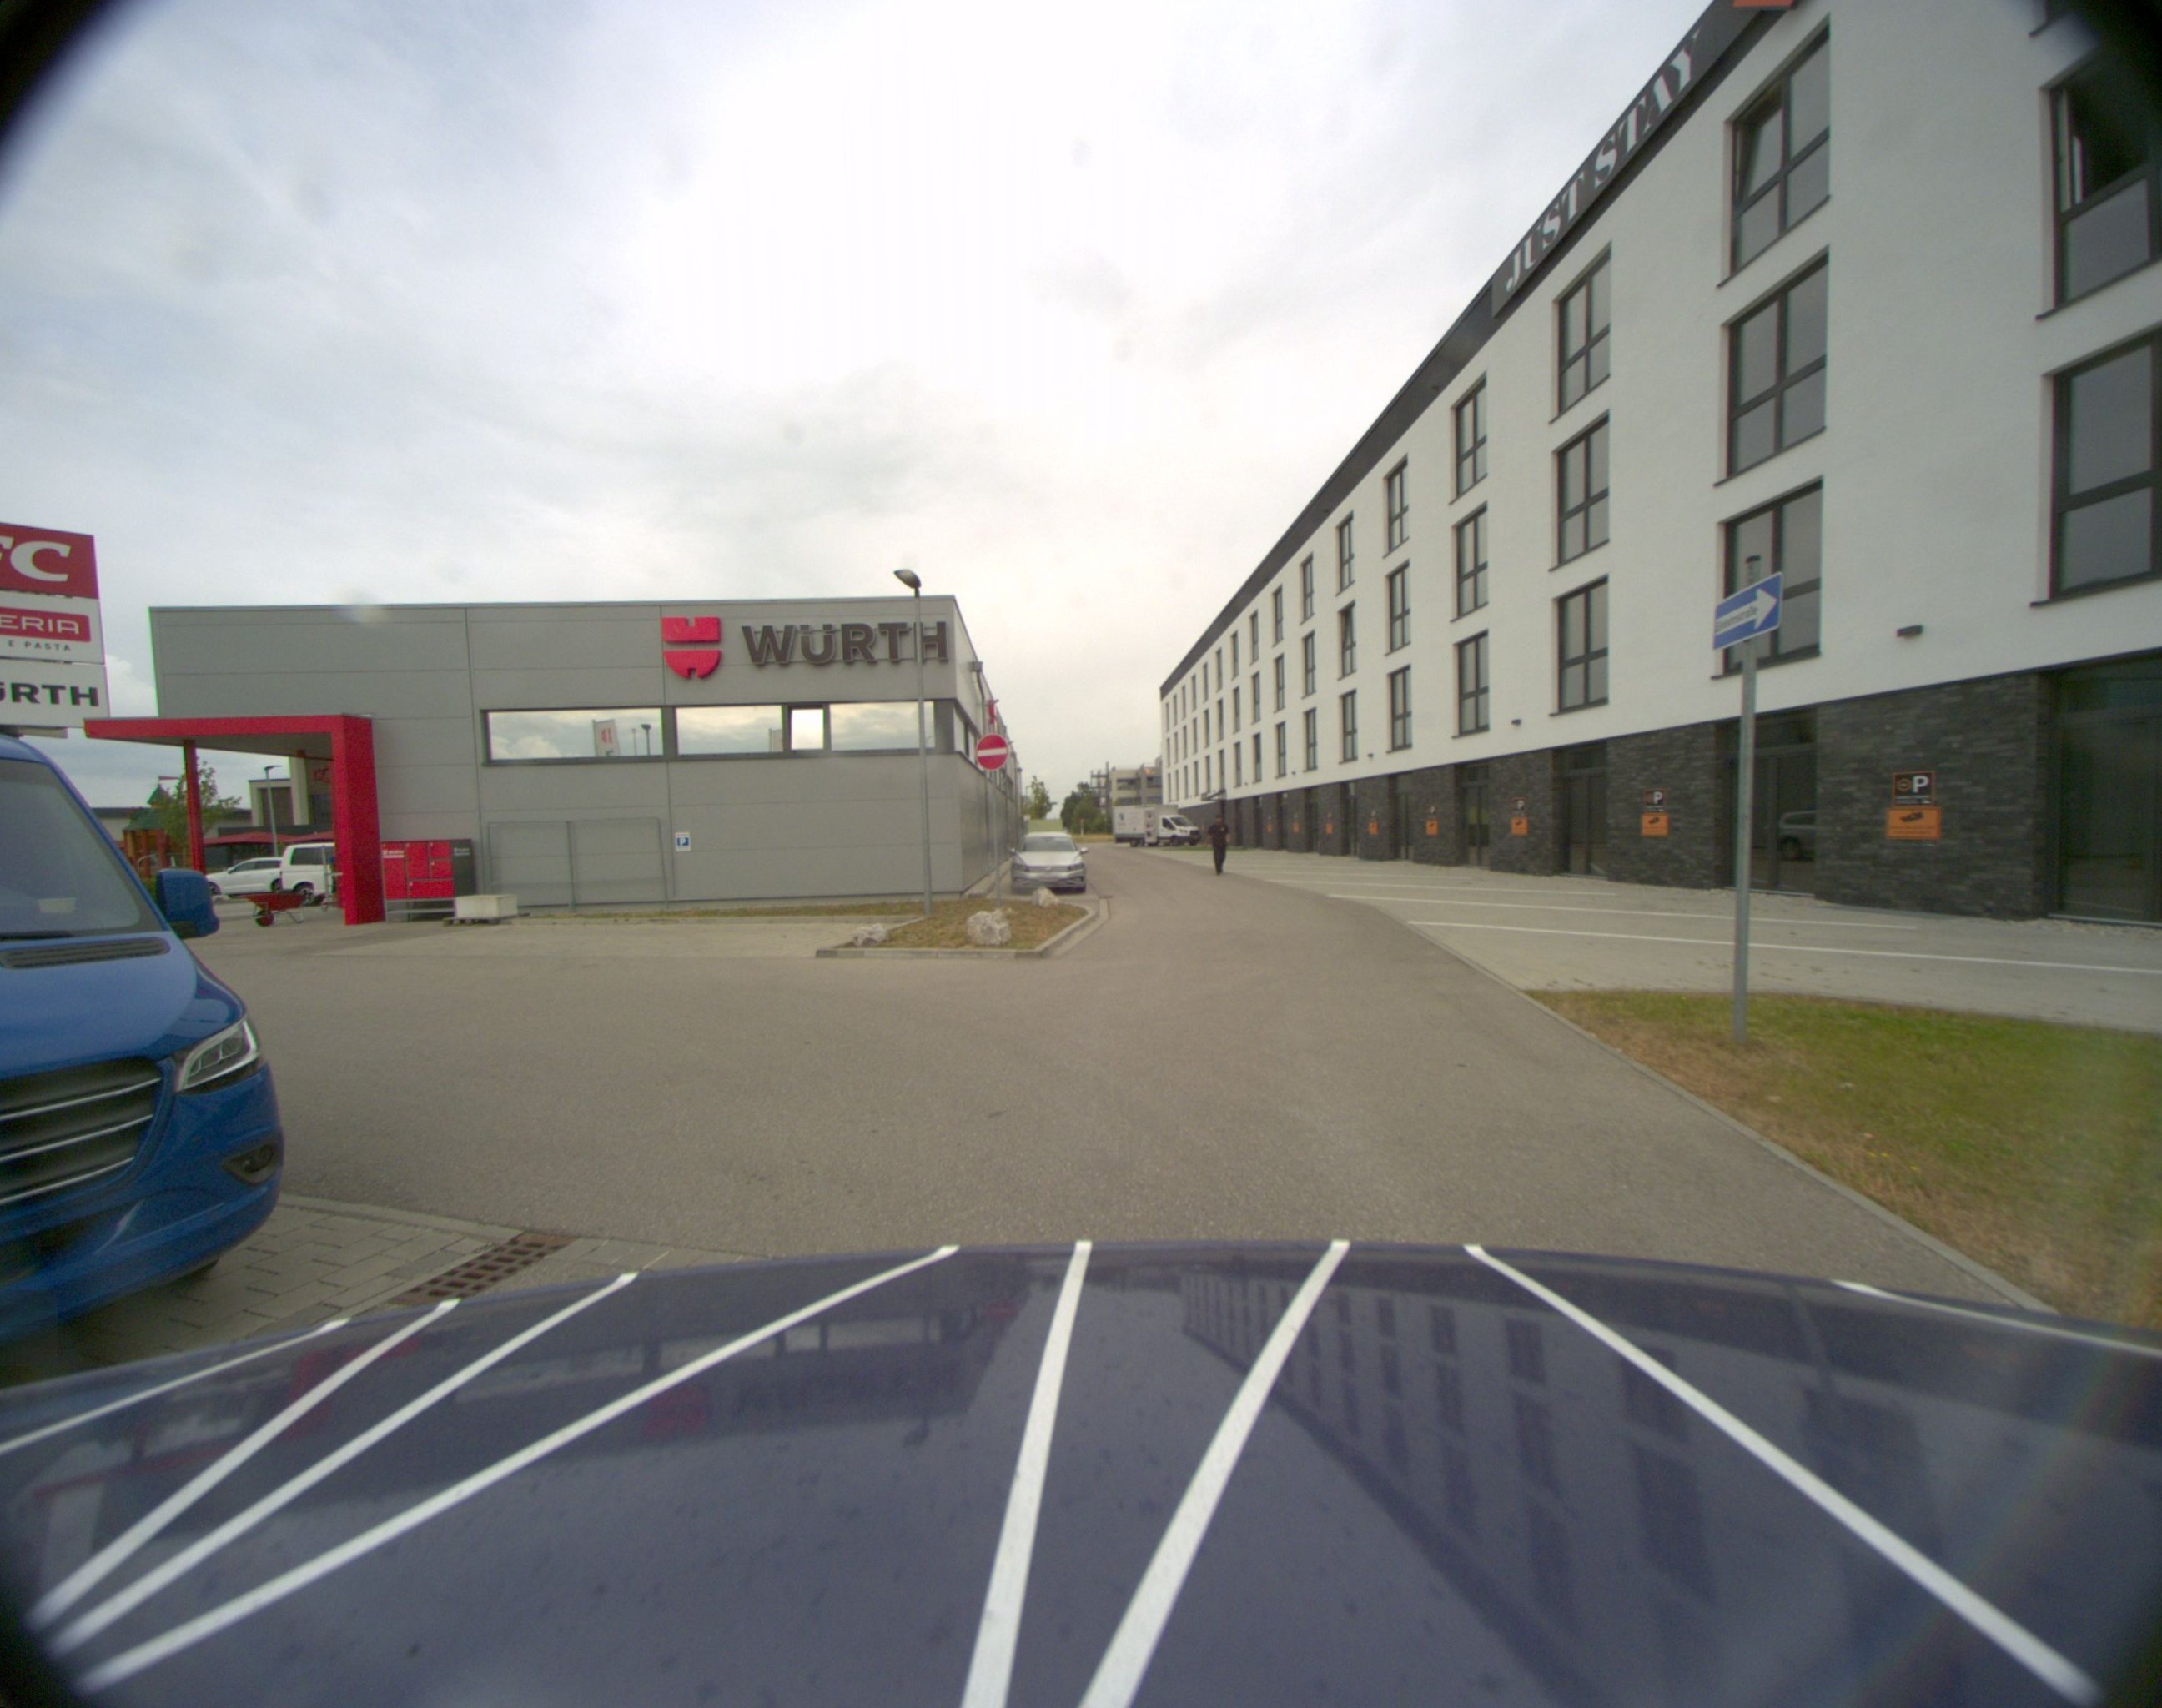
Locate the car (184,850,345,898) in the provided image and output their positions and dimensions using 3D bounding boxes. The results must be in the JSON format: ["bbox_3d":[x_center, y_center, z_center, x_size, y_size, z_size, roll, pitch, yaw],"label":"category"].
[{"bbox_3d":[-34.524,0.814,32.218,4.738,1.739,1.757,-2,3,0],"label":"car"}]

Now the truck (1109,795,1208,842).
[{"bbox_3d":[5.322,-2.437,53.361,2.441,3.000,7.048,-5,4,-41],"label":"truck"}]

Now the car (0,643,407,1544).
[{"bbox_3d":[-6.547,0.671,3.069,7.839,2.310,2.204,-1,2,21],"label":"car"}]

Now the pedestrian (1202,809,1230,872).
[{"bbox_3d":[3.997,-0.412,22.523,0.709,1.812,0.813,-2,3,3],"label":"pedestrian"}]

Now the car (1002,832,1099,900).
[{"bbox_3d":[-0.651,0.200,19.881,1.979,1.483,4.770,0,3,4],"label":"car"}]

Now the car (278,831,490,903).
[{"bbox_3d":[-22.542,0.384,24.752,4.757,2.003,1.935,-3,3,-5],"label":"car"}]

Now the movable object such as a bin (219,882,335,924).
[{"bbox_3d":[-17.462,1.049,16.564,0.803,0.712,1.584,-2,2,-1],"label":"movable object such as a bin"}]
